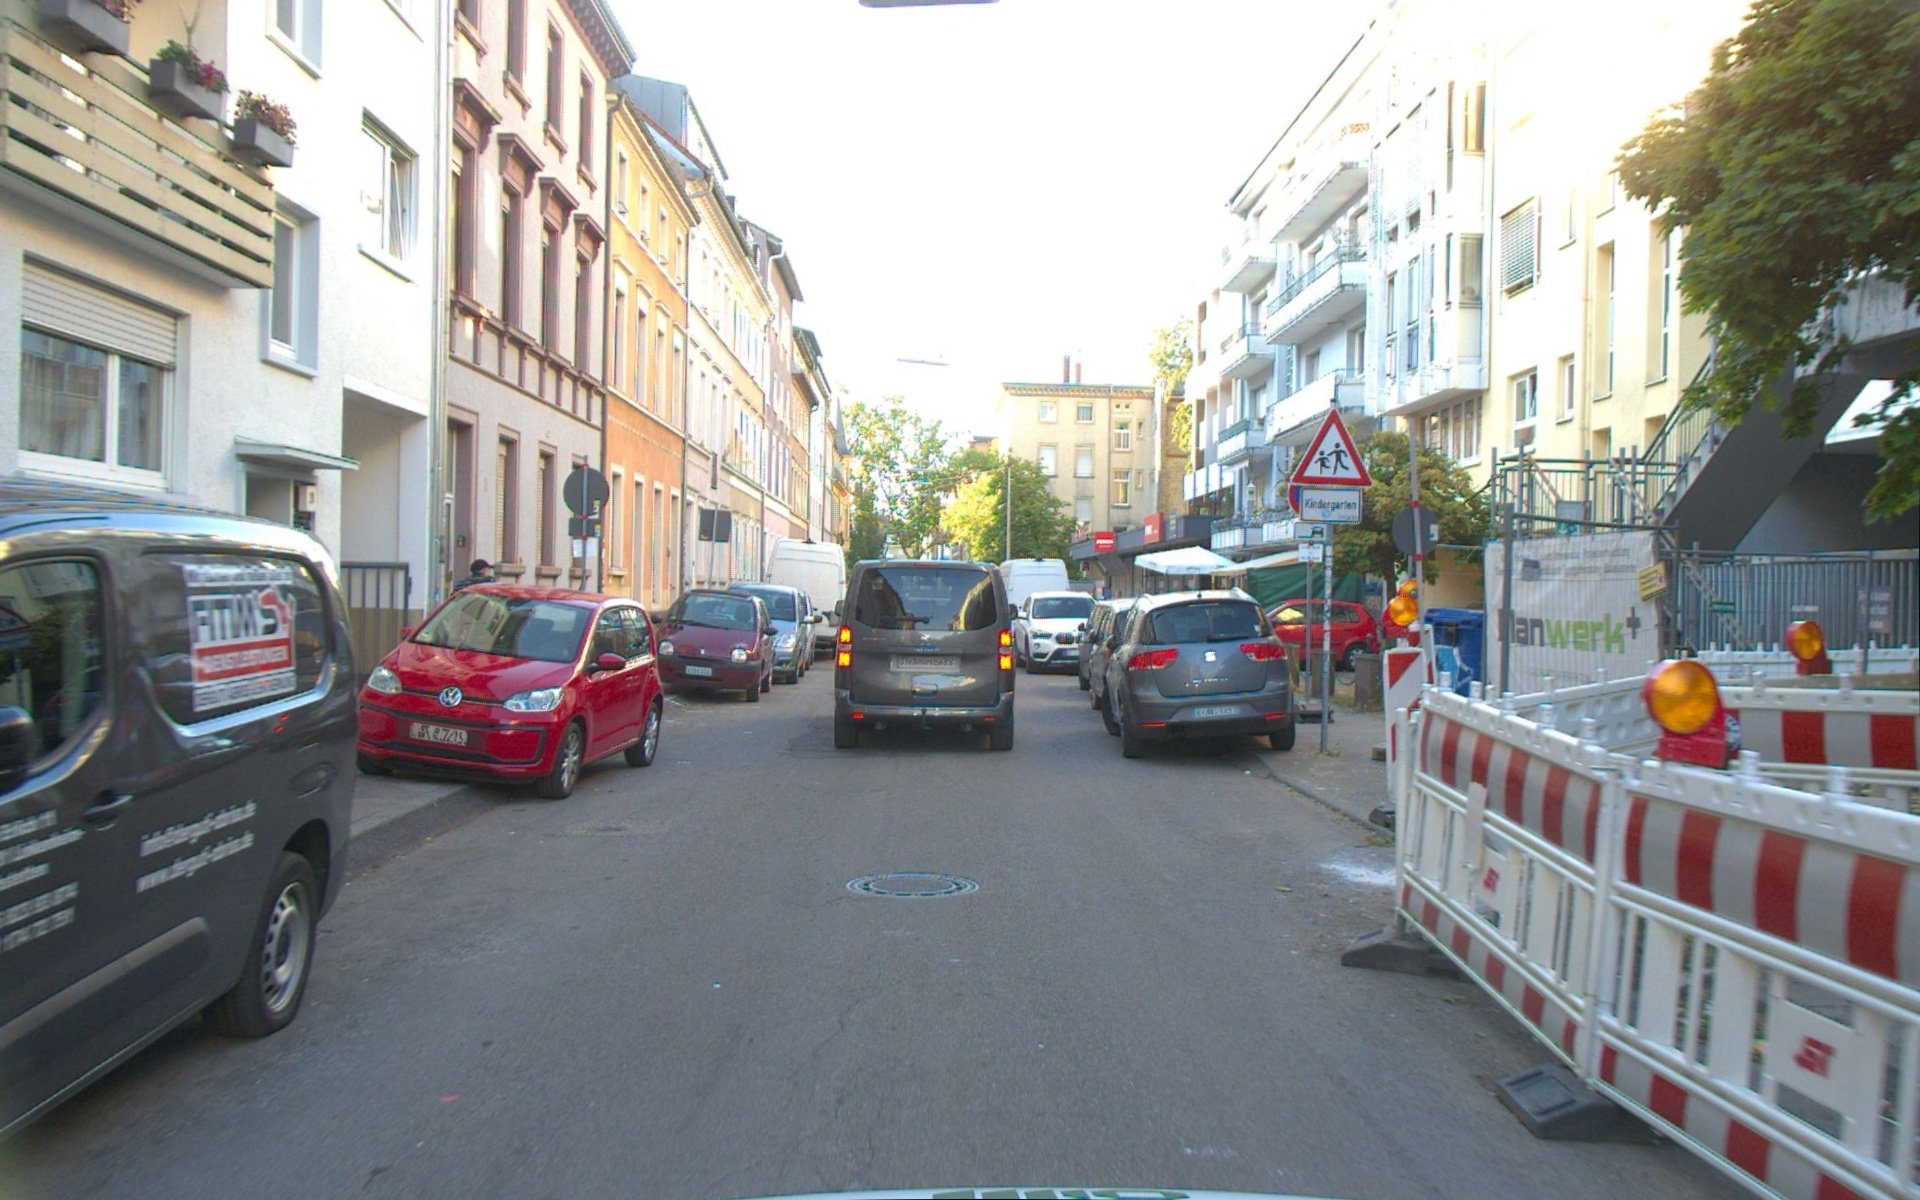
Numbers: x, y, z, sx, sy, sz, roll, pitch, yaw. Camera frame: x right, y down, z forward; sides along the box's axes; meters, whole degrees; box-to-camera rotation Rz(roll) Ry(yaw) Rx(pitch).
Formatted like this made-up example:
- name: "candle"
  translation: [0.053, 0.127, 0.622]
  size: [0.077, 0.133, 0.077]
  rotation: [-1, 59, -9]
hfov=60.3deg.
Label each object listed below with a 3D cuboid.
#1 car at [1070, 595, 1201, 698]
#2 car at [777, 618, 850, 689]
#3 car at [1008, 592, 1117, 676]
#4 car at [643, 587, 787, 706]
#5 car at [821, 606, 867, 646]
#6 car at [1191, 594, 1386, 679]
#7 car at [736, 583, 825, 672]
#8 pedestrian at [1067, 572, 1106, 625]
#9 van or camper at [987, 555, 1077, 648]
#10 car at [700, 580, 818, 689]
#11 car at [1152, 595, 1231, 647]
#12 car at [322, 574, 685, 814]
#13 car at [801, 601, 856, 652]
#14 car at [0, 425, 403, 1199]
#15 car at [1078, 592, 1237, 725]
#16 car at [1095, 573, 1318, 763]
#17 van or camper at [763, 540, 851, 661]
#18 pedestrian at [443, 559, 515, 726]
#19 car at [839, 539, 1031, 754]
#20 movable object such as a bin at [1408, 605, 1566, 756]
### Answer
- name: "car"
  translation: [2.769, 0.686, 26.798]
  size: [1.587, 1.512, 4.123]
  rotation: [-1, 0, -1]
- name: "car"
  translation: [-4.087, 1.467, 46.762]
  size: [1.826, 1.781, 4.291]
  rotation: [2, 0, -3]
- name: "car"
  translation: [2.092, 0.669, 34.948]
  size: [1.688, 1.640, 4.585]
  rotation: [1, 0, -4]
- name: "car"
  translation: [-3.469, 0.616, 23.885]
  size: [1.624, 1.473, 3.284]
  rotation: [4, 0, -3]
- name: "car"
  translation: [-4.708, 1.026, 66.752]
  size: [1.753, 1.422, 4.463]
  rotation: [2, 0, -5]
- name: "car"
  translation: [7.091, 0.771, 35.914]
  size: [3.817, 1.635, 1.693]
  rotation: [2, 0, -3]
- name: "car"
  translation: [-3.708, 0.535, 34.635]
  size: [1.558, 1.715, 3.651]
  rotation: [2, 0, -2]
- name: "pedestrian"
  translation: [3.825, -0.051, 50.131]
  size: [0.859, 1.583, 0.869]
  rotation: [-1, 1, -24]
- name: "van or camper"
  translation: [2.132, 0.043, 50.949]
  size: [2.058, 2.648, 7.508]
  rotation: [0, 0, -3]
- name: "car"
  translation: [-3.470, 0.556, 29.163]
  size: [1.677, 1.673, 3.977]
  rotation: [4, 0, -3]
- name: "car"
  translation: [6.779, 0.597, 48.231]
  size: [1.567, 1.441, 3.229]
  rotation: [0, 0, 21]
- name: "car"
  translation: [-3.524, 0.659, 13.470]
  size: [1.635, 1.511, 3.607]
  rotation: [6, 0, 3]
- name: "car"
  translation: [-4.348, 0.838, 54.327]
  size: [1.678, 1.523, 3.851]
  rotation: [2, 0, -6]
- name: "car"
  translation: [-3.091, 0.537, 4.182]
  size: [1.954, 1.891, 4.582]
  rotation: [2, 0, -3]
- name: "car"
  translation: [2.556, 0.705, 22.142]
  size: [1.589, 1.585, 3.693]
  rotation: [2, 0, -1]
- name: "car"
  translation: [2.485, 0.623, 17.713]
  size: [1.713, 1.712, 4.526]
  rotation: [2, 0, 1]
- name: "van or camper"
  translation: [-3.660, -0.007, 40.539]
  size: [1.910, 2.696, 7.136]
  rotation: [0, 0, -3]
- name: "pedestrian"
  translation: [-4.964, 0.430, 17.103]
  size: [0.485, 1.667, 0.665]
  rotation: [2, 0, -2]
- name: "car"
  translation: [-0.311, 0.430, 17.935]
  size: [1.820, 2.049, 3.998]
  rotation: [-1, 0, -2]
- name: "movable object such as a bin"
  translation: [5.150, 0.780, 16.179]
  size: [1.235, 1.400, 0.795]
  rotation: [3, 0, -27]
